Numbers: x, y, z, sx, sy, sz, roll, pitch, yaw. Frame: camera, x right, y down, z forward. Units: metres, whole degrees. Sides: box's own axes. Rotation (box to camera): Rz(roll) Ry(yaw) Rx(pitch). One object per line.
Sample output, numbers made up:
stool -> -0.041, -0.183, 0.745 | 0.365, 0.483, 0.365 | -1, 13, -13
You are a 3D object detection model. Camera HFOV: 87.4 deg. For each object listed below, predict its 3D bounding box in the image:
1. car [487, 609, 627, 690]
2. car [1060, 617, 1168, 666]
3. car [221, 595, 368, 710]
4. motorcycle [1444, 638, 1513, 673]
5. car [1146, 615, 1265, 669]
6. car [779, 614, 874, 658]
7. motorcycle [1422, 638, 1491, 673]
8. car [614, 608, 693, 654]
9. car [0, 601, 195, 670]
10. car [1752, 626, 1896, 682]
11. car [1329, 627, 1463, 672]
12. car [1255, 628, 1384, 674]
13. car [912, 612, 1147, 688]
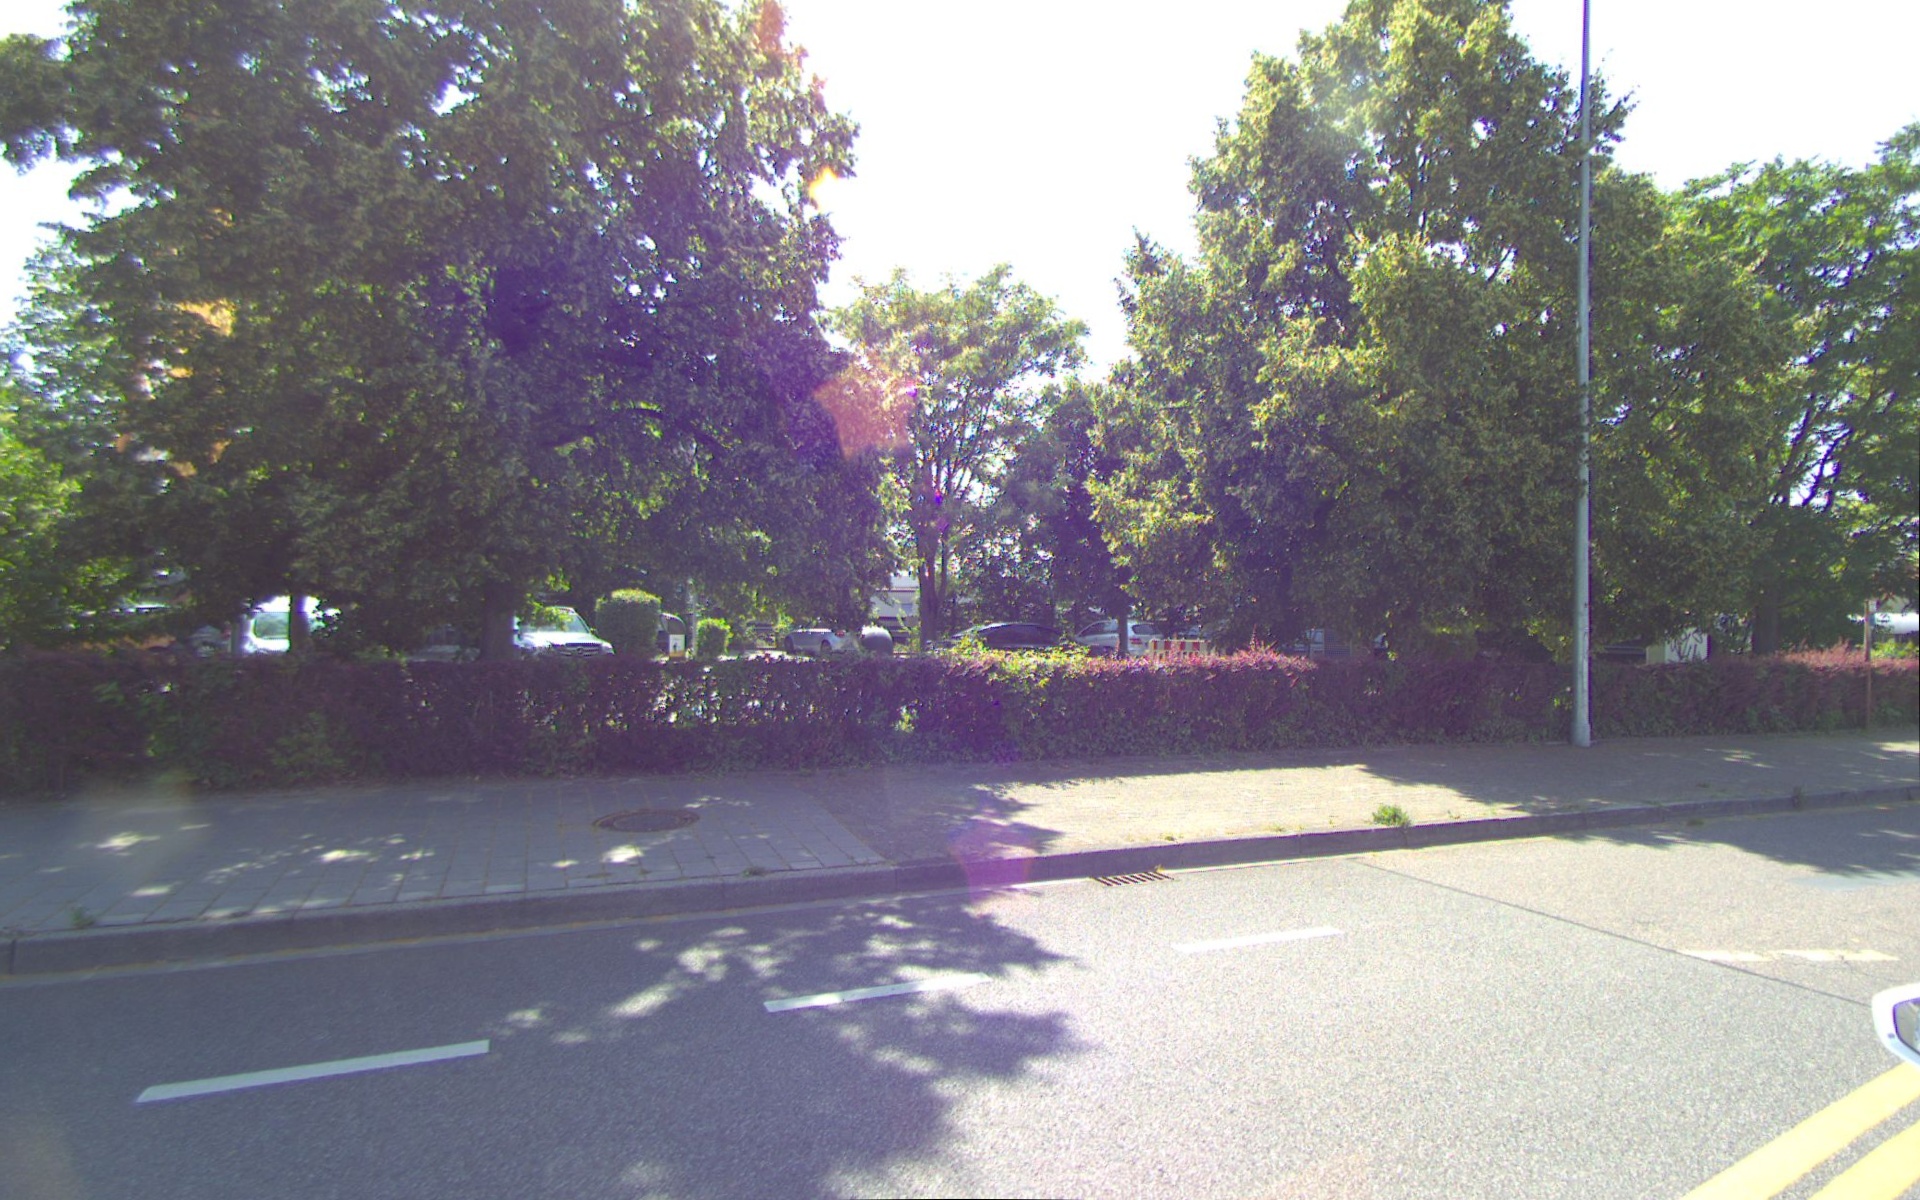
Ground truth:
car -> -9.106, 1.046, 22.544 | 1.889, 1.604, 3.768 | 2, -1, -39
car -> 5.537, 1.483, 36.512 | 1.628, 1.609, 3.809 | 2, -1, -37
car -> -12.238, 0.861, 18.360 | 1.735, 1.852, 4.302 | 1, -1, -41
motorcycle -> 18.680, 1.996, 36.220 | 2.150, 1.147, 0.567 | 1, 0, 39
car -> 8.814, 1.470, 36.350 | 1.784, 1.755, 3.984 | 2, -1, -35
car -> -5.026, 1.304, 37.326 | 1.778, 1.469, 4.005 | 2, -1, -37
motorcycle -> 17.784, 1.974, 36.002 | 2.150, 1.131, 0.567 | 1, 0, 39
car -> -11.748, 1.151, 38.403 | 1.801, 1.597, 3.832 | 2, -1, -35
car -> -22.220, 0.918, 26.025 | 3.688, 1.653, 1.652 | 2, -1, -36
car -> 32.496, 2.095, 37.967 | 1.854, 1.944, 4.530 | -2, -5, 8
car -> 15.336, 1.707, 35.517 | 1.753, 1.406, 4.054 | 2, -1, -35
car -> 12.434, 1.732, 34.941 | 1.611, 1.414, 4.031 | 2, -1, -35
car -> 1.581, 1.142, 22.841 | 4.957, 1.581, 2.064 | 2, -2, -22
